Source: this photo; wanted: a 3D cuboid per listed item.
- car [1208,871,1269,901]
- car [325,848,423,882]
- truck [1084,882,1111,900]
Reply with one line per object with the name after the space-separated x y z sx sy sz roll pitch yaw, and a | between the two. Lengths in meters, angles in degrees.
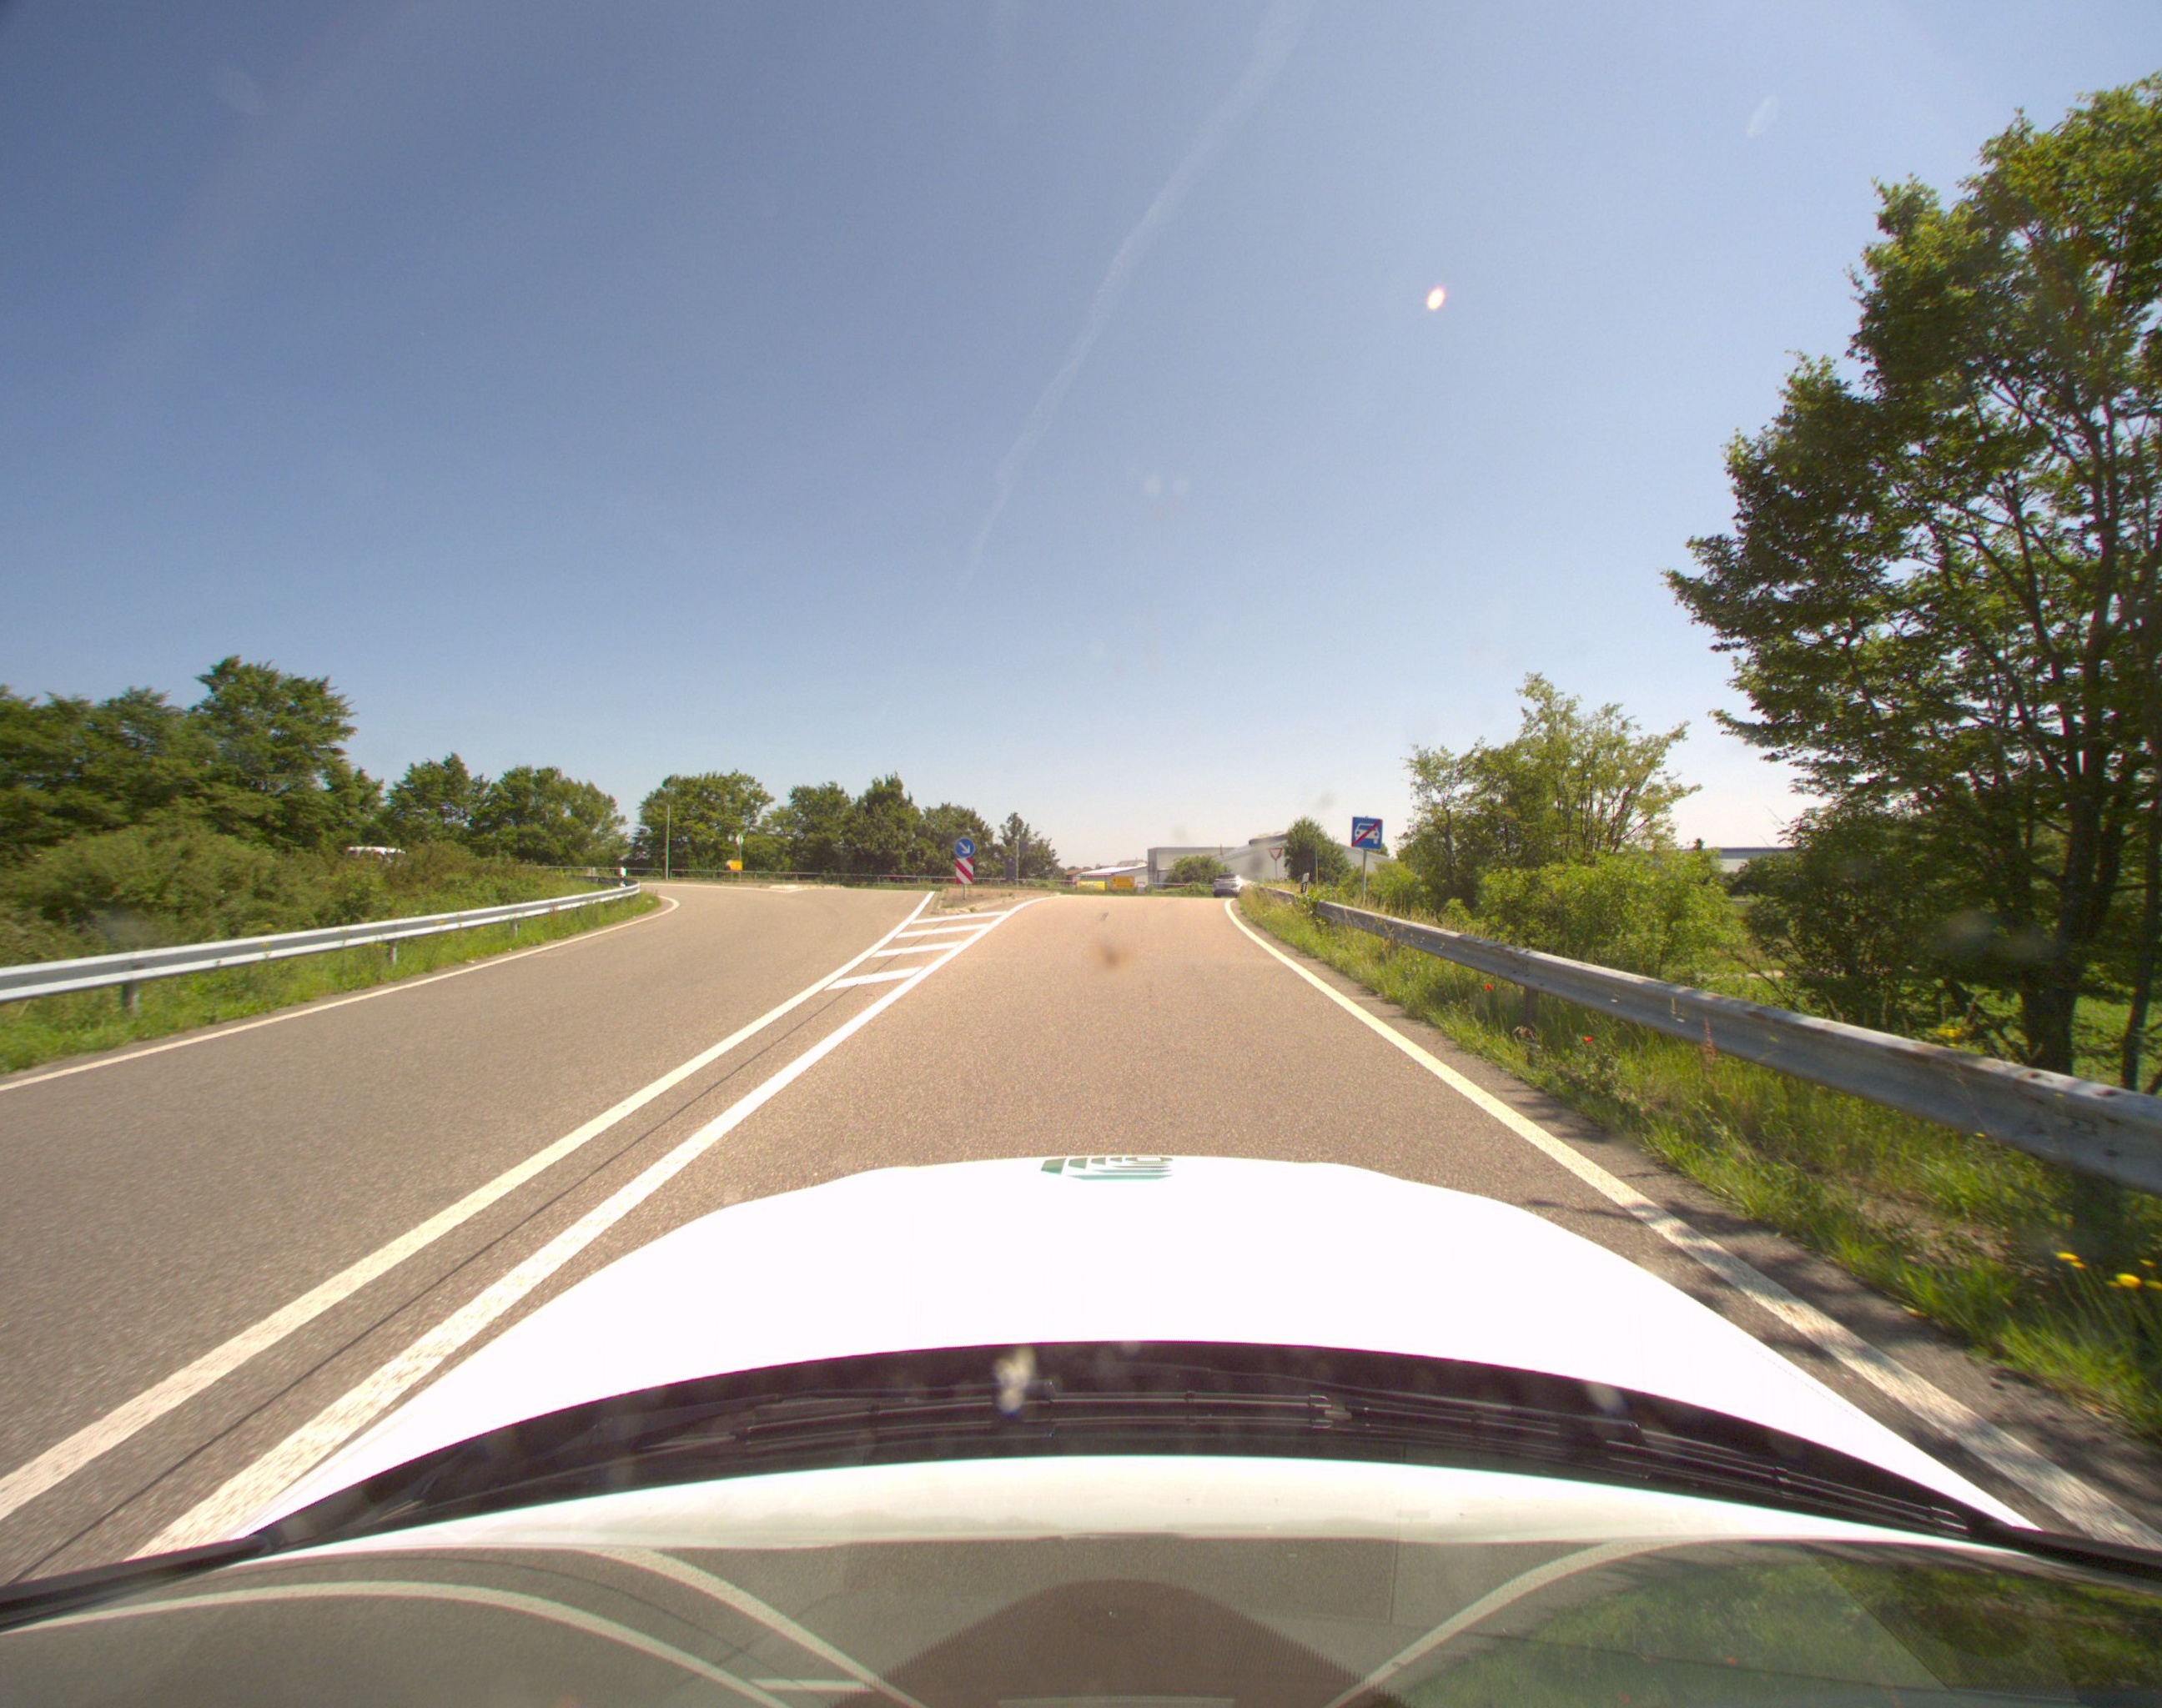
9.474 1.882 48.726 1.791 1.691 4.024 -3 -3 41 | car
-38.178 0.595 44.019 4.046 1.761 1.746 0 0 8 | car
4.022 9.150 199.907 3.710 4.312 13.285 2 -3 -12 | truck
